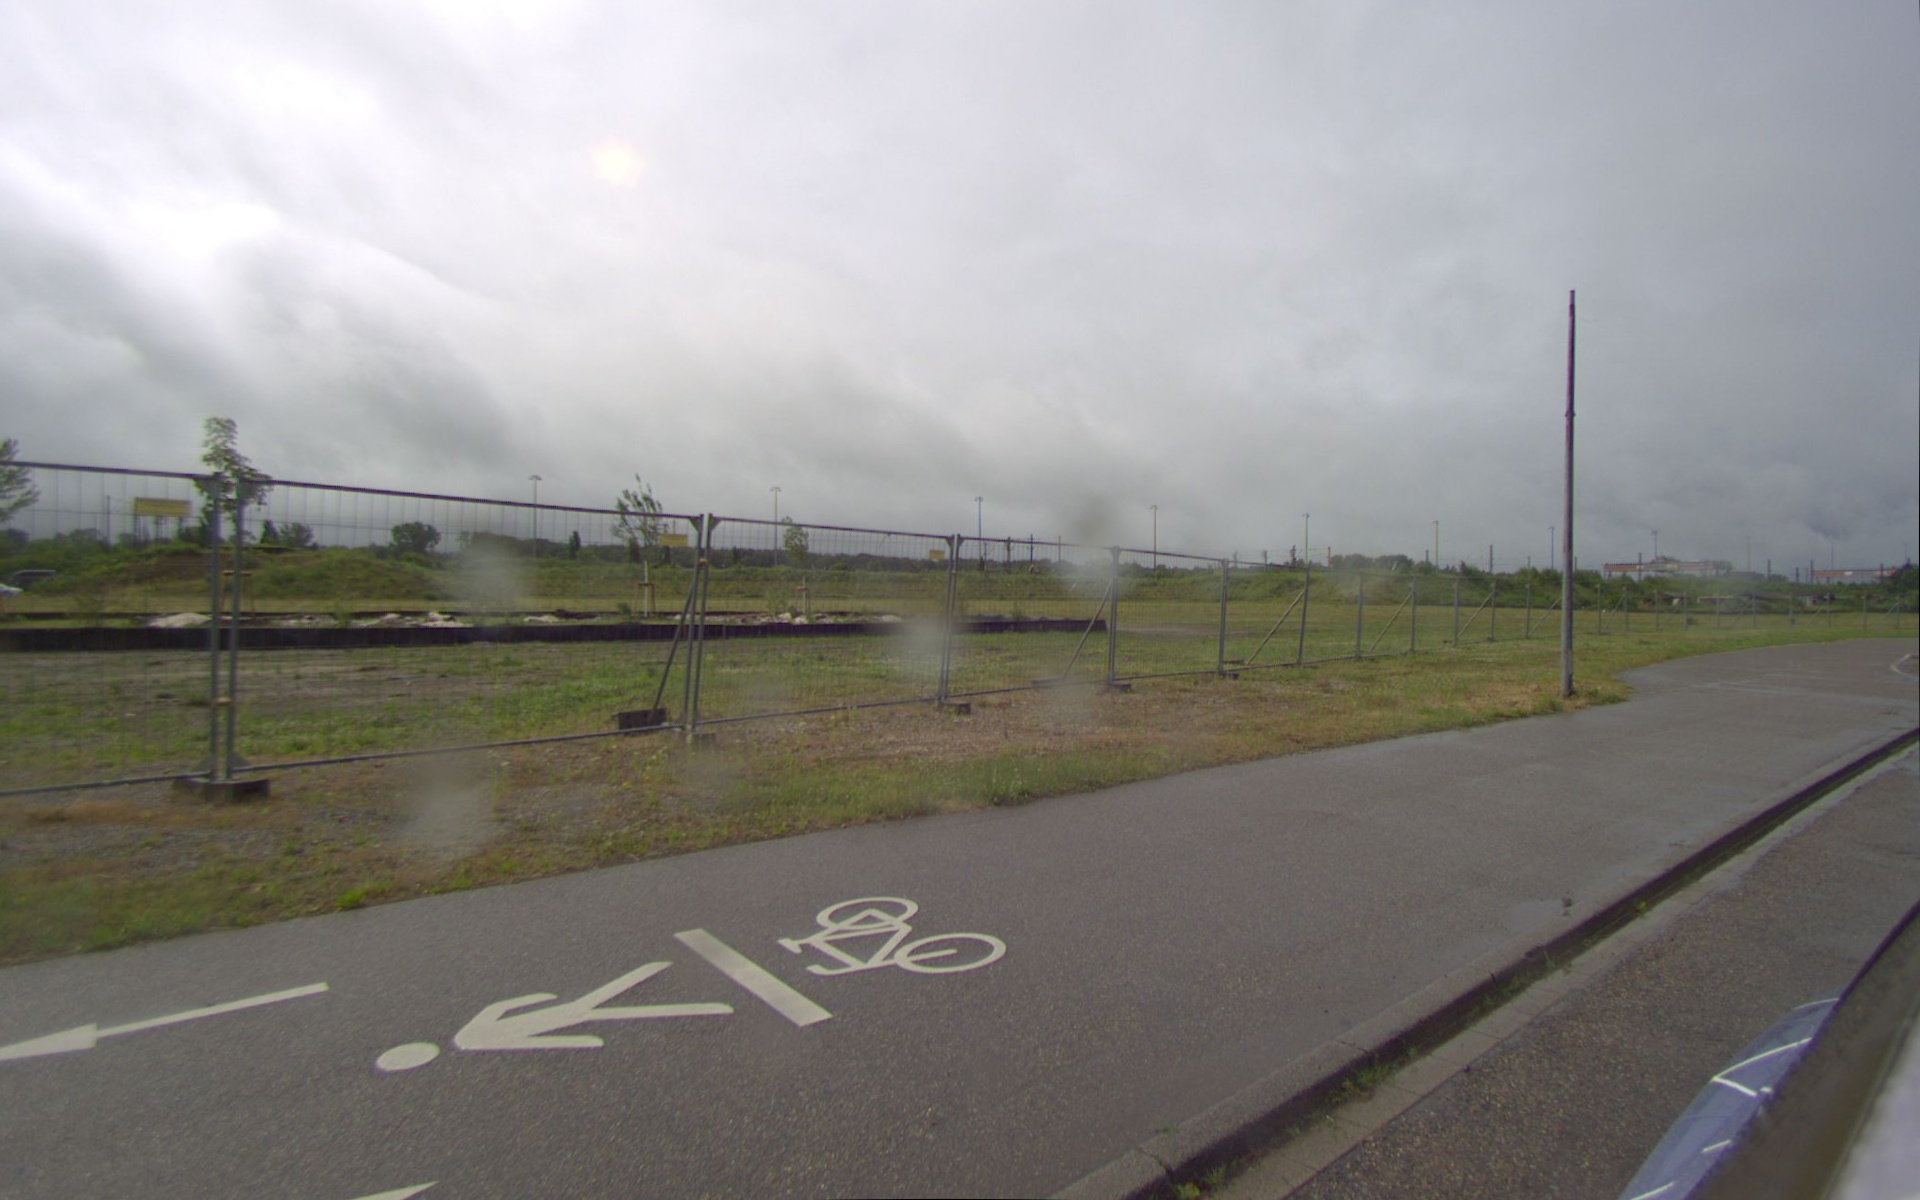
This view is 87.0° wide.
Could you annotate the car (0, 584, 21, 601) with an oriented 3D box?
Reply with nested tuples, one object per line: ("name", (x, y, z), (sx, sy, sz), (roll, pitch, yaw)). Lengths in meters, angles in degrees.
("car", (-95.965, -0.760, 100.452), (3.927, 1.750, 1.998), (0, 0, -38))
